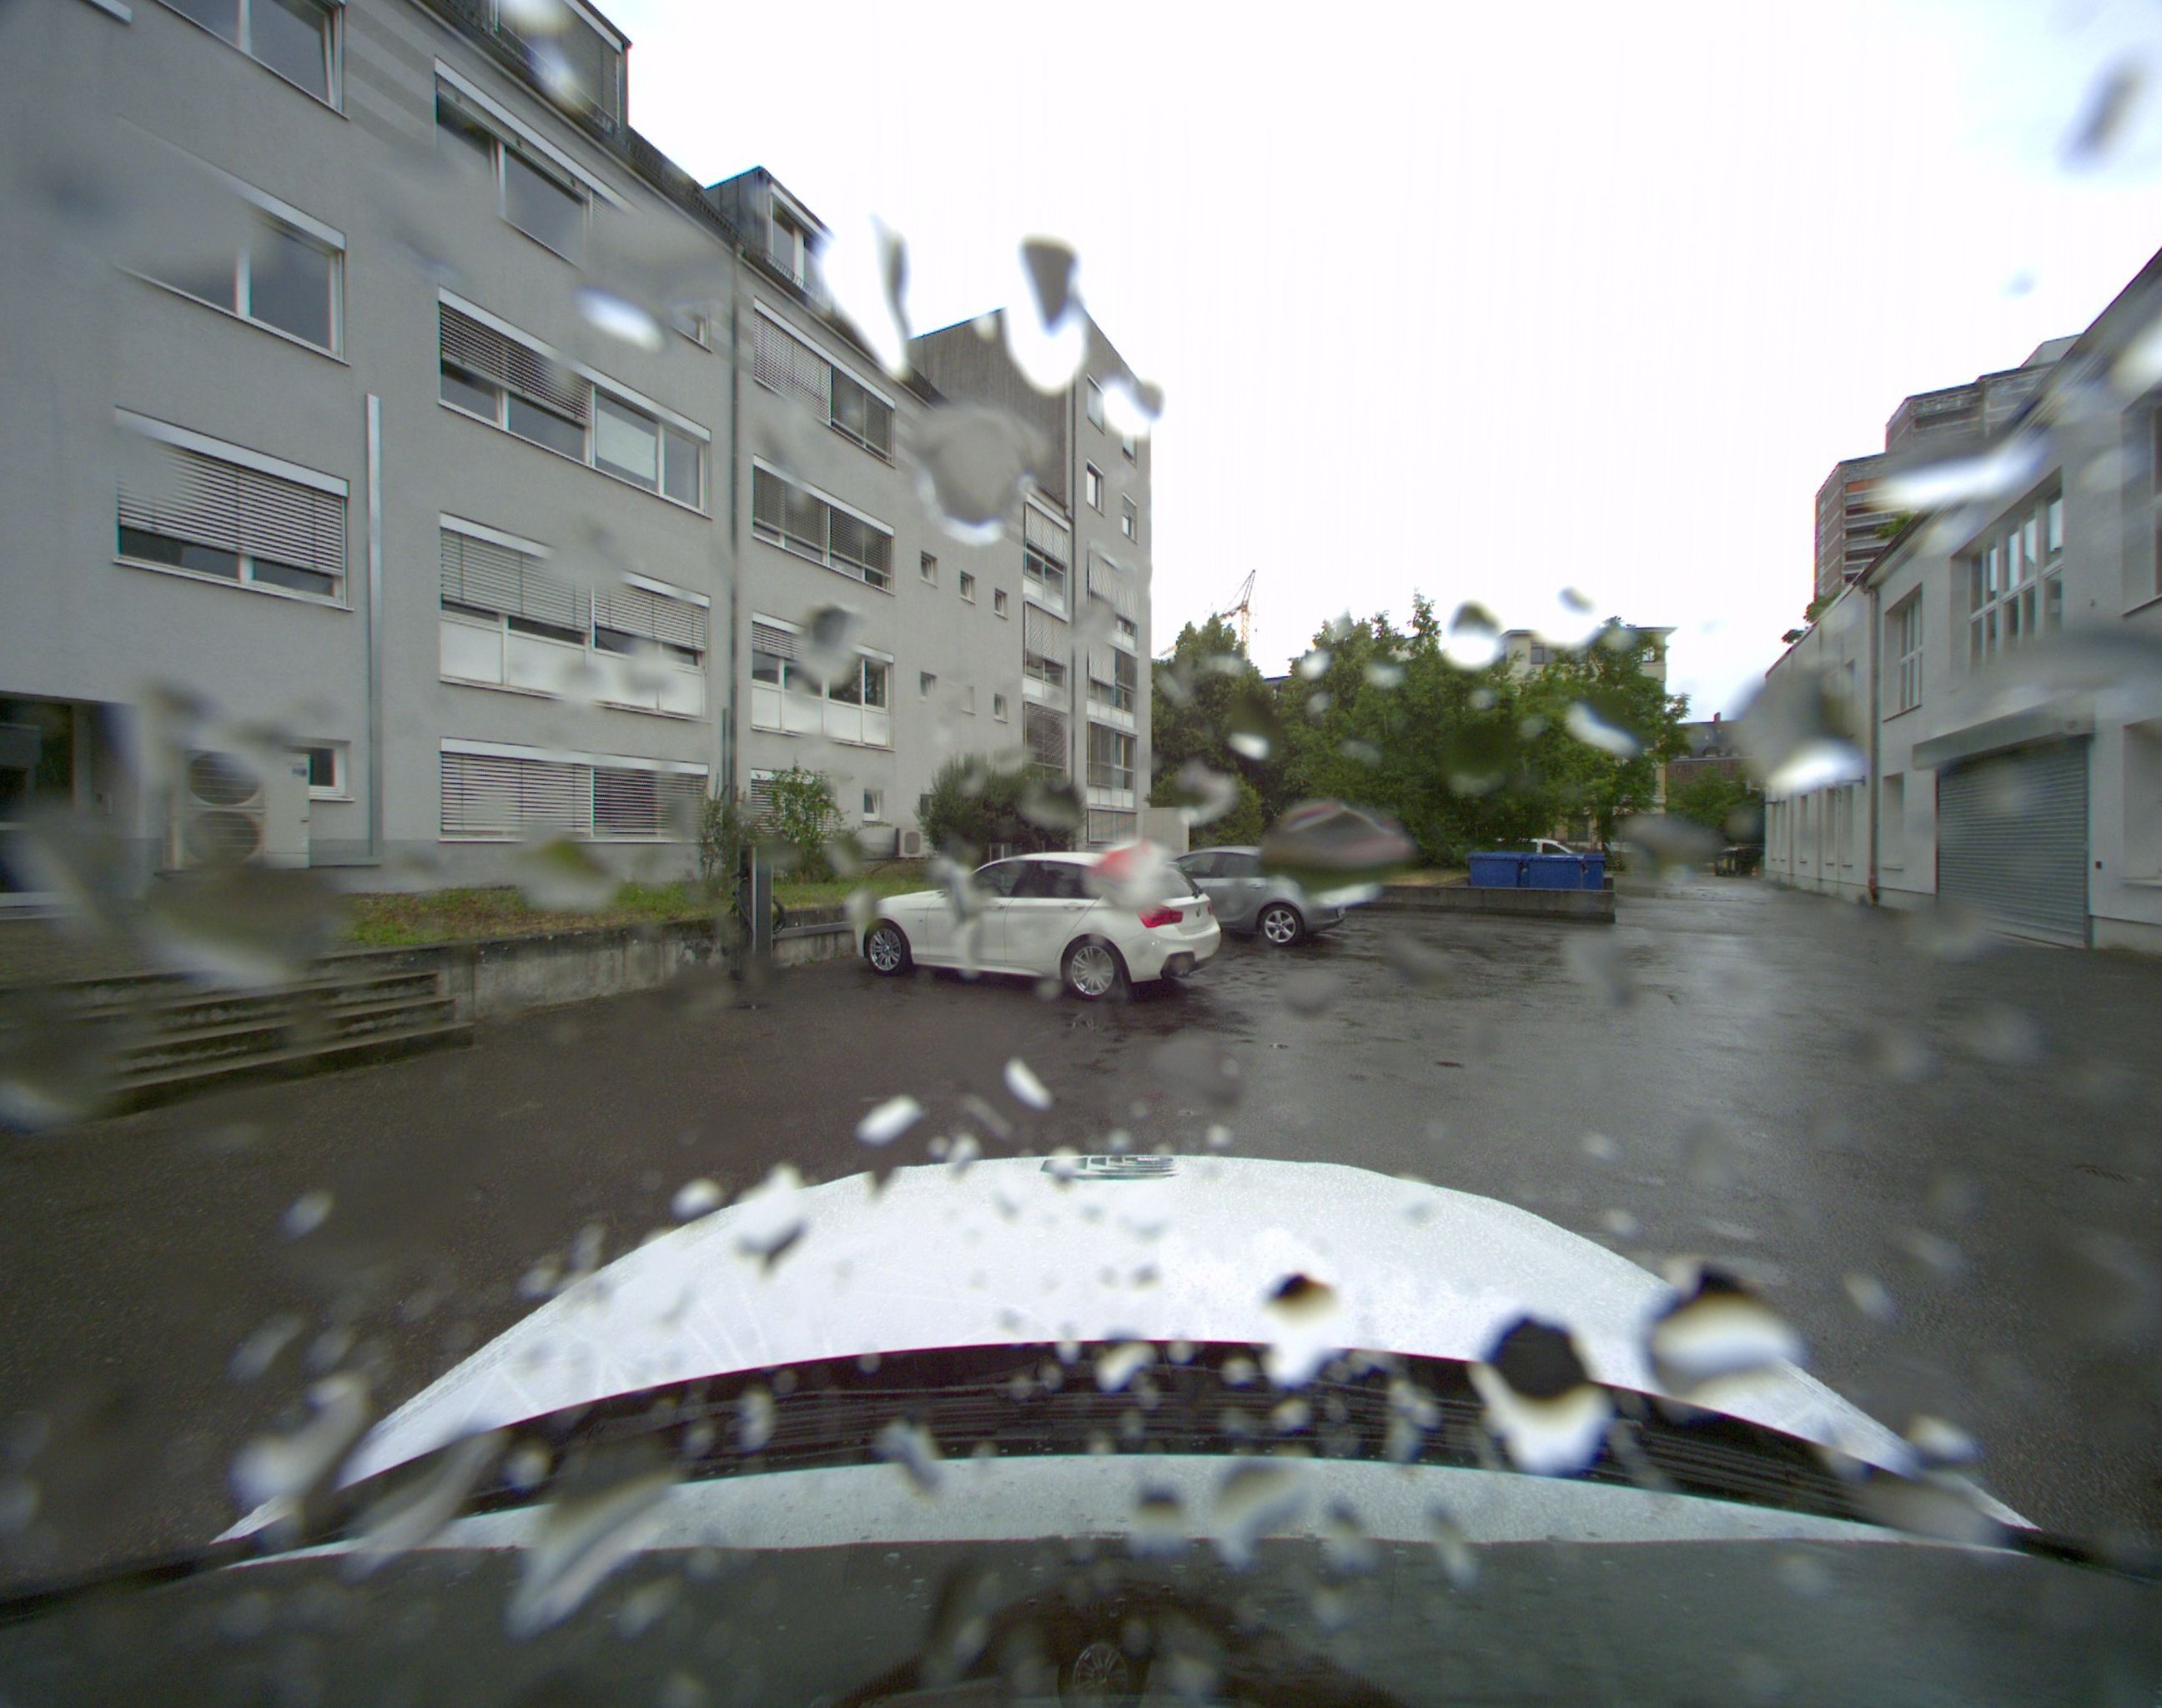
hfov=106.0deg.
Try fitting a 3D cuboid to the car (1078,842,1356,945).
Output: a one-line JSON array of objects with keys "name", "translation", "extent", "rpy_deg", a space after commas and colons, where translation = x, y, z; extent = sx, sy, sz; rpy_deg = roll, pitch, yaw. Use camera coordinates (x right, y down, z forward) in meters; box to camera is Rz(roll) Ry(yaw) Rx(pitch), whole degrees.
[{"name": "car", "translation": [2.263, 0.565, 13.702], "extent": [4.167, 1.489, 2.012], "rpy_deg": [0, 0, 29]}]

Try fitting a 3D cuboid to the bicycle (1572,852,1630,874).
[{"name": "bicycle", "translation": [29.293, 0.511, 45.911], "extent": [2.719, 1.186, 0.738], "rpy_deg": [-1, 1, 3]}]

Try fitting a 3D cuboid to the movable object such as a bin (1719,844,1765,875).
[{"name": "movable object such as a bin", "translation": [32.109, 0.268, 39.579], "extent": [1.473, 1.448, 1.321], "rpy_deg": [-1, -2, 28]}]

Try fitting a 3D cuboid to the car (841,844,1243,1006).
[{"name": "car", "translation": [-0.480, 0.648, 9.364], "extent": [4.167, 1.489, 2.012], "rpy_deg": [0, 0, 29]}]

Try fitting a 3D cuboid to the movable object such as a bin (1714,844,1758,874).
[{"name": "movable object such as a bin", "translation": [32.763, 0.271, 40.770], "extent": [1.473, 1.448, 1.321], "rpy_deg": [-1, -2, 28]}]

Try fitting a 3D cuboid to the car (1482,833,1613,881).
[{"name": "car", "translation": [19.795, 0.197, 34.654], "extent": [4.637, 1.882, 2.136], "rpy_deg": [-1, -3, 35]}]

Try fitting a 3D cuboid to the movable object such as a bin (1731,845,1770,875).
[{"name": "movable object such as a bin", "translation": [31.349, 0.297, 38.159], "extent": [1.173, 1.374, 1.321], "rpy_deg": [-1, -2, 28]}]

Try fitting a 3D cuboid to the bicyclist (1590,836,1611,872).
[{"name": "bicyclist", "translation": [29.290, 0.017, 45.904], "extent": [0.704, 2.013, 0.747], "rpy_deg": [0, 1, 3]}]

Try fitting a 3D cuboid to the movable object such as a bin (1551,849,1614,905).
[{"name": "movable object such as a bin", "translation": [13.031, 0.601, 21.157], "extent": [1.297, 1.358, 1.917], "rpy_deg": [-1, -2, 32]}]

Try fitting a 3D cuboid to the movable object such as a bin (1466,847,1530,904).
[{"name": "movable object such as a bin", "translation": [10.506, 0.536, 20.481], "extent": [1.217, 1.358, 1.983], "rpy_deg": [-1, -2, 32]}]

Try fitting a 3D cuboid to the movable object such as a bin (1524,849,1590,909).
[{"name": "movable object such as a bin", "translation": [11.582, 0.606, 19.774], "extent": [1.297, 1.358, 1.917], "rpy_deg": [-1, -2, 32]}]
